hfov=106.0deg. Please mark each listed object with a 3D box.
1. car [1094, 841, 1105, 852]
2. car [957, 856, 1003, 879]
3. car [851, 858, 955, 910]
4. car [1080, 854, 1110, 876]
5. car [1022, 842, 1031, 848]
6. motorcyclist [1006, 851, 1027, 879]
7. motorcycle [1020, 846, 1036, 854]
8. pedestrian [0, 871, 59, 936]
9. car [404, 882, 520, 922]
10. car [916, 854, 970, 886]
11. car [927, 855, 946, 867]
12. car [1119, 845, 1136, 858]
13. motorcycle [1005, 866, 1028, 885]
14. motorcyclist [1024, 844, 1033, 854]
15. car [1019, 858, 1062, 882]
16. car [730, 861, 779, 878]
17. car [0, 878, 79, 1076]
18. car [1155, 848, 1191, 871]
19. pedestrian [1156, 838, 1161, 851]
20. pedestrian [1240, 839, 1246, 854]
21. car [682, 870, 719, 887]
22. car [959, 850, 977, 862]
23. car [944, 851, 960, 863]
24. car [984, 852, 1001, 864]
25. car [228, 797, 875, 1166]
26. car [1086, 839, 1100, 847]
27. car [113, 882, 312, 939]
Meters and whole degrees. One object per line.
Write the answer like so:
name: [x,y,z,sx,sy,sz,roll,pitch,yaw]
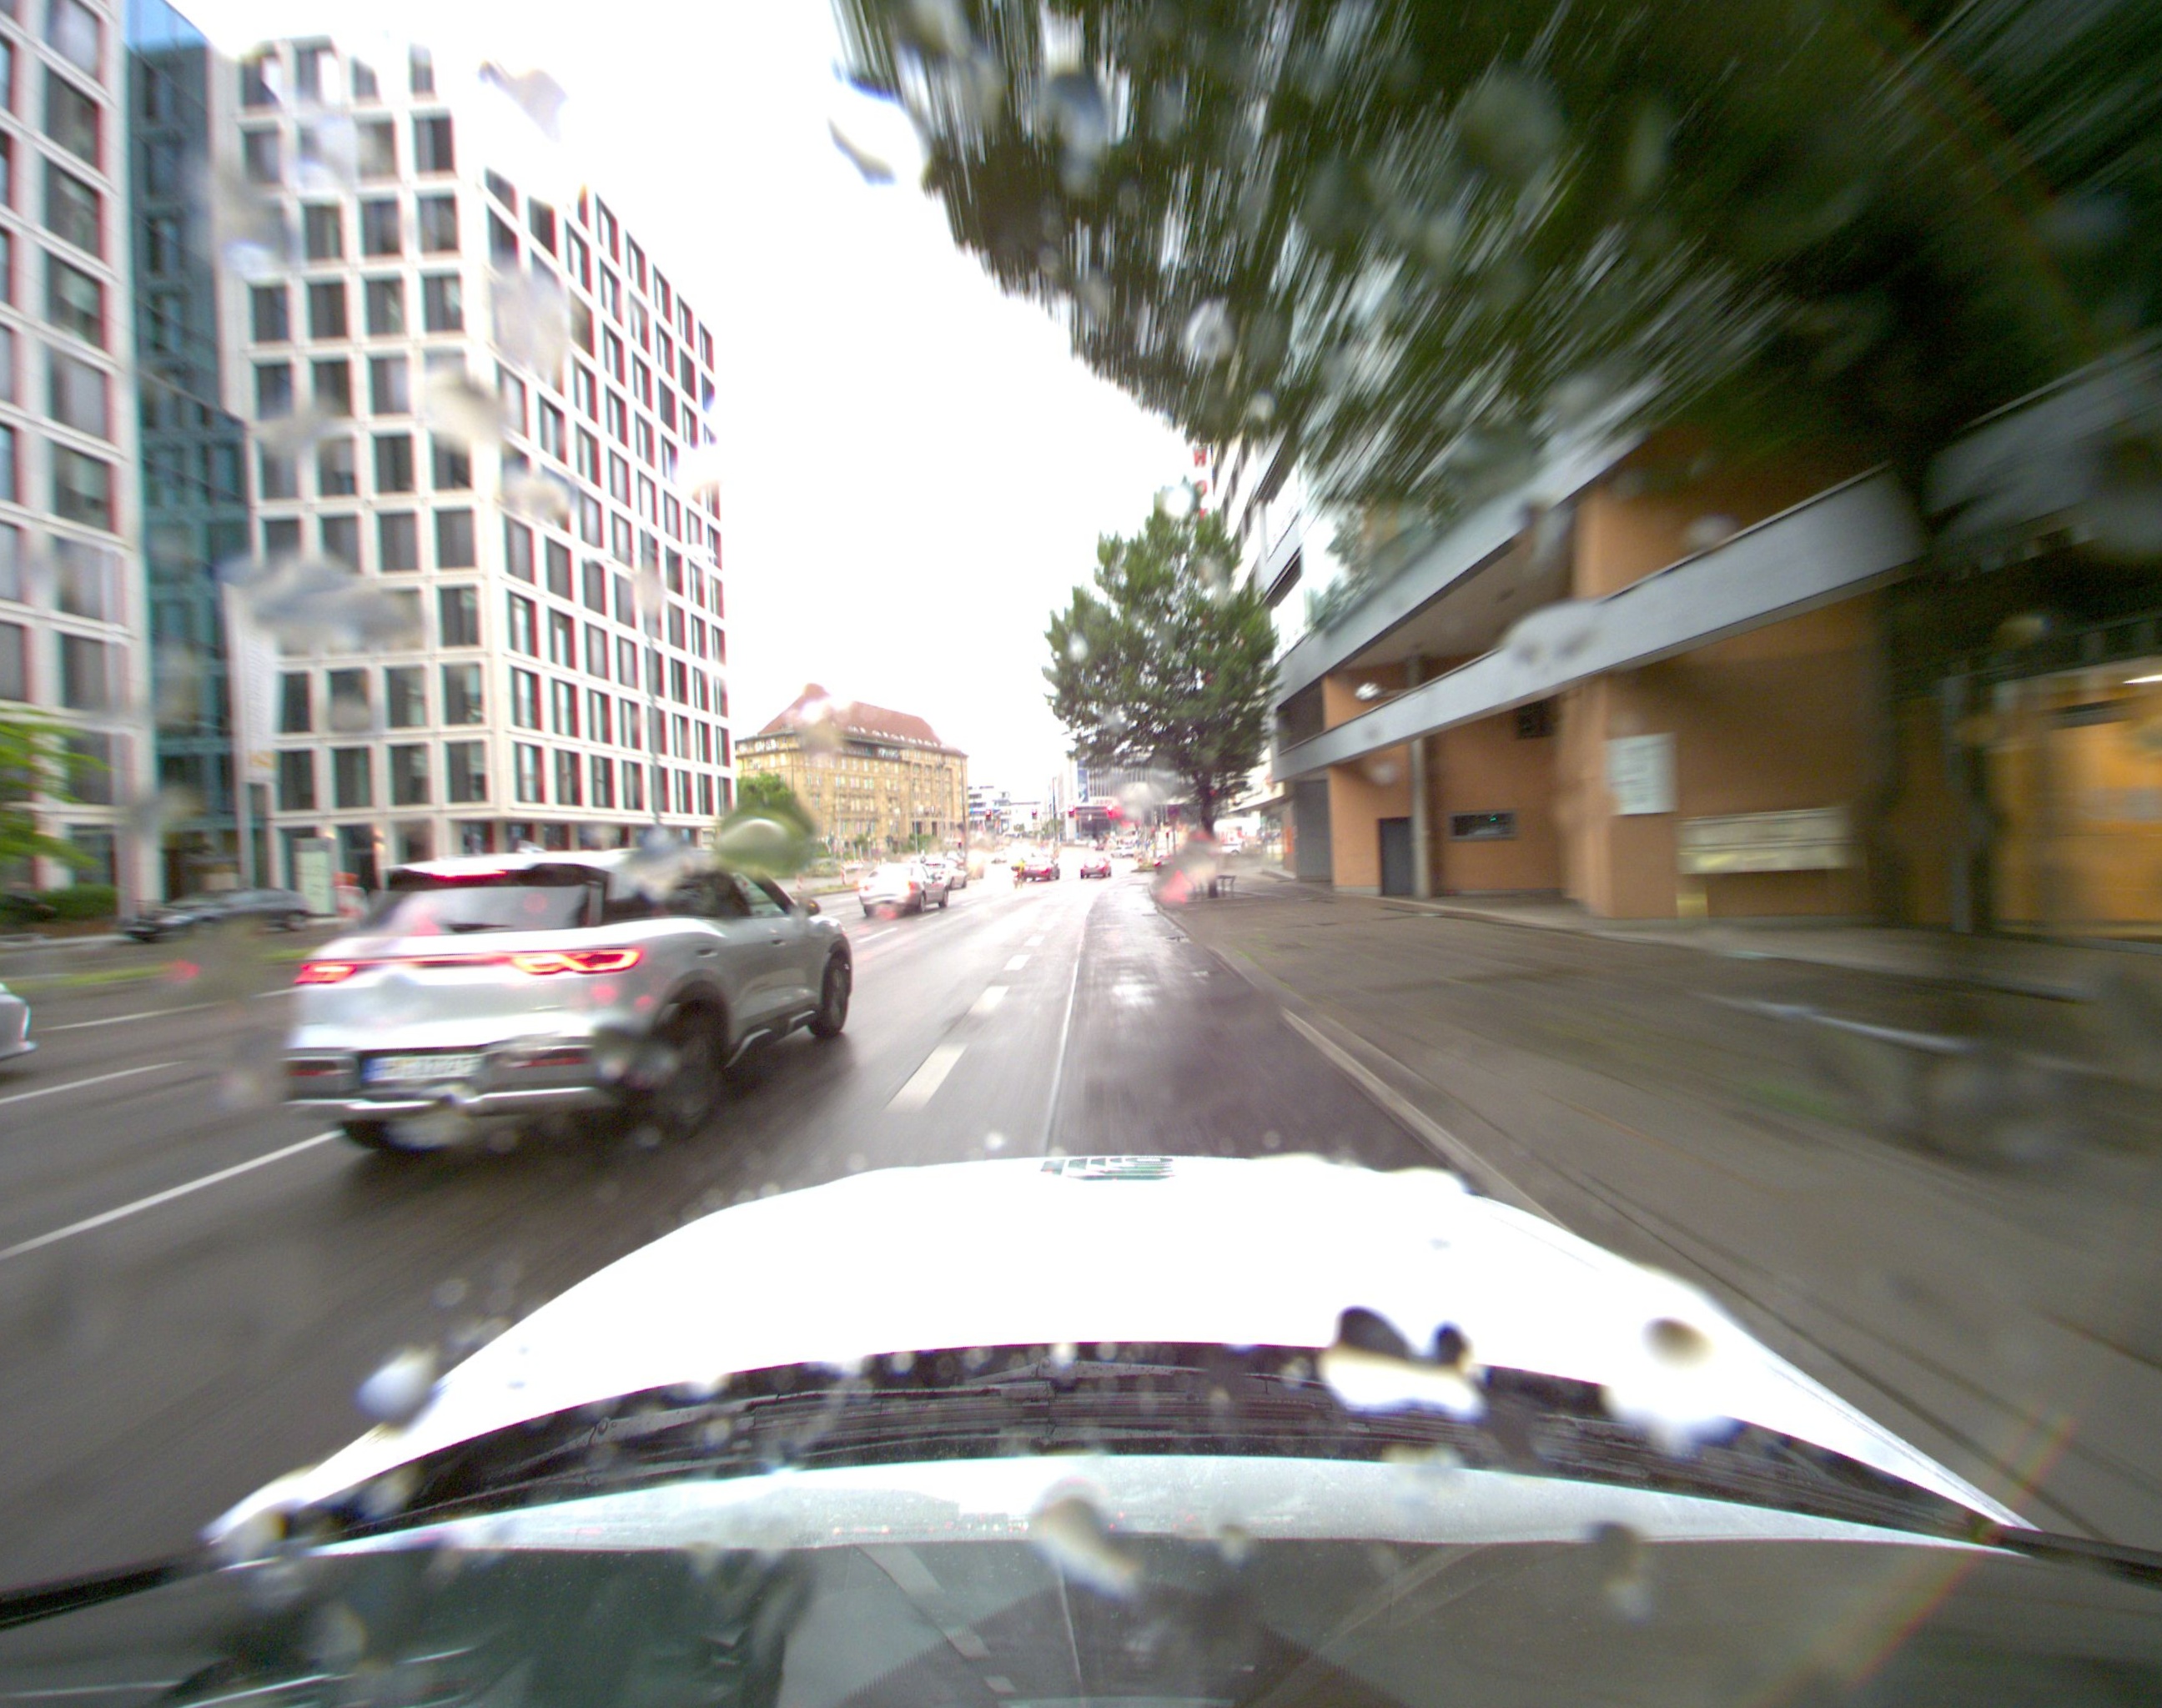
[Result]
car: [3.681,-1.515,163.158,1.988,2.014,3.997,-1,-1,-2]
car: [-7.447,1.005,60.322,1.769,1.600,4.091,-1,-1,17]
car: [-5.205,0.860,24.423,1.724,1.404,4.390,-1,-1,6]
car: [1.007,0.735,57.013,1.775,1.402,4.492,-1,1,4]
car: [-12.962,-2.071,193.715,1.761,1.260,4.195,-1,-1,2]
motorcyclist: [-3.465,0.578,43.789,0.937,1.476,1.101,-1,-2,3]
motorcycle: [-7.209,-0.540,110.927,2.153,1.108,0.841,0,-2,-38]
pedestrian: [-28.720,1.331,22.145,0.610,1.734,0.967,-1,-2,1]
car: [-25.624,1.954,33.882,1.691,1.424,3.956,-3,-1,1]
car: [-7.338,0.849,43.667,1.724,1.616,4.007,-1,-1,7]
car: [-18.844,0.921,106.276,1.691,1.519,3.875,-3,-1,1]
car: [6.286,-0.371,110.112,1.726,1.639,3.426,-1,2,-8]
motorcycle: [-3.452,1.132,43.733,0.938,0.989,2.296,-1,-1,3]
motorcyclist: [-7.187,-0.708,110.967,0.952,1.358,0.840,0,-2,-37]
car: [-2.600,1.070,54.027,1.876,1.515,5.014,-1,-1,8]
car: [-33.246,1.587,82.988,4.388,1.662,1.990,0,-2,-15]
car: [-9.285,0.918,4.364,1.825,1.521,4.800,-1,-1,0]
car: [6.640,0.421,58.320,1.876,1.544,4.010,-1,-1,17]
pedestrian: [11.529,-1.356,120.905,0.363,1.898,0.570,0,-2,-33]
pedestrian: [20.908,-0.961,105.234,0.569,1.898,0.364,-2,-2,35]
car: [-36.057,2.338,77.172,3.949,1.596,1.685,-2,-2,41]
car: [-15.340,0.290,110.492,1.796,1.574,4.073,-1,-1,0]
car: [-18.279,0.410,115.654,1.692,1.574,3.998,-1,-1,0]
car: [-11.513,0.479,106.173,1.816,1.486,3.998,-2,0,-1]
car: [-2.954,0.630,5.822,1.801,1.661,4.171,-1,-1,1]
car: [2.868,-2.609,194.030,1.999,1.816,3.974,0,-1,-18]
car: [-26.148,1.651,24.729,1.691,1.424,3.956,-3,-1,1]
